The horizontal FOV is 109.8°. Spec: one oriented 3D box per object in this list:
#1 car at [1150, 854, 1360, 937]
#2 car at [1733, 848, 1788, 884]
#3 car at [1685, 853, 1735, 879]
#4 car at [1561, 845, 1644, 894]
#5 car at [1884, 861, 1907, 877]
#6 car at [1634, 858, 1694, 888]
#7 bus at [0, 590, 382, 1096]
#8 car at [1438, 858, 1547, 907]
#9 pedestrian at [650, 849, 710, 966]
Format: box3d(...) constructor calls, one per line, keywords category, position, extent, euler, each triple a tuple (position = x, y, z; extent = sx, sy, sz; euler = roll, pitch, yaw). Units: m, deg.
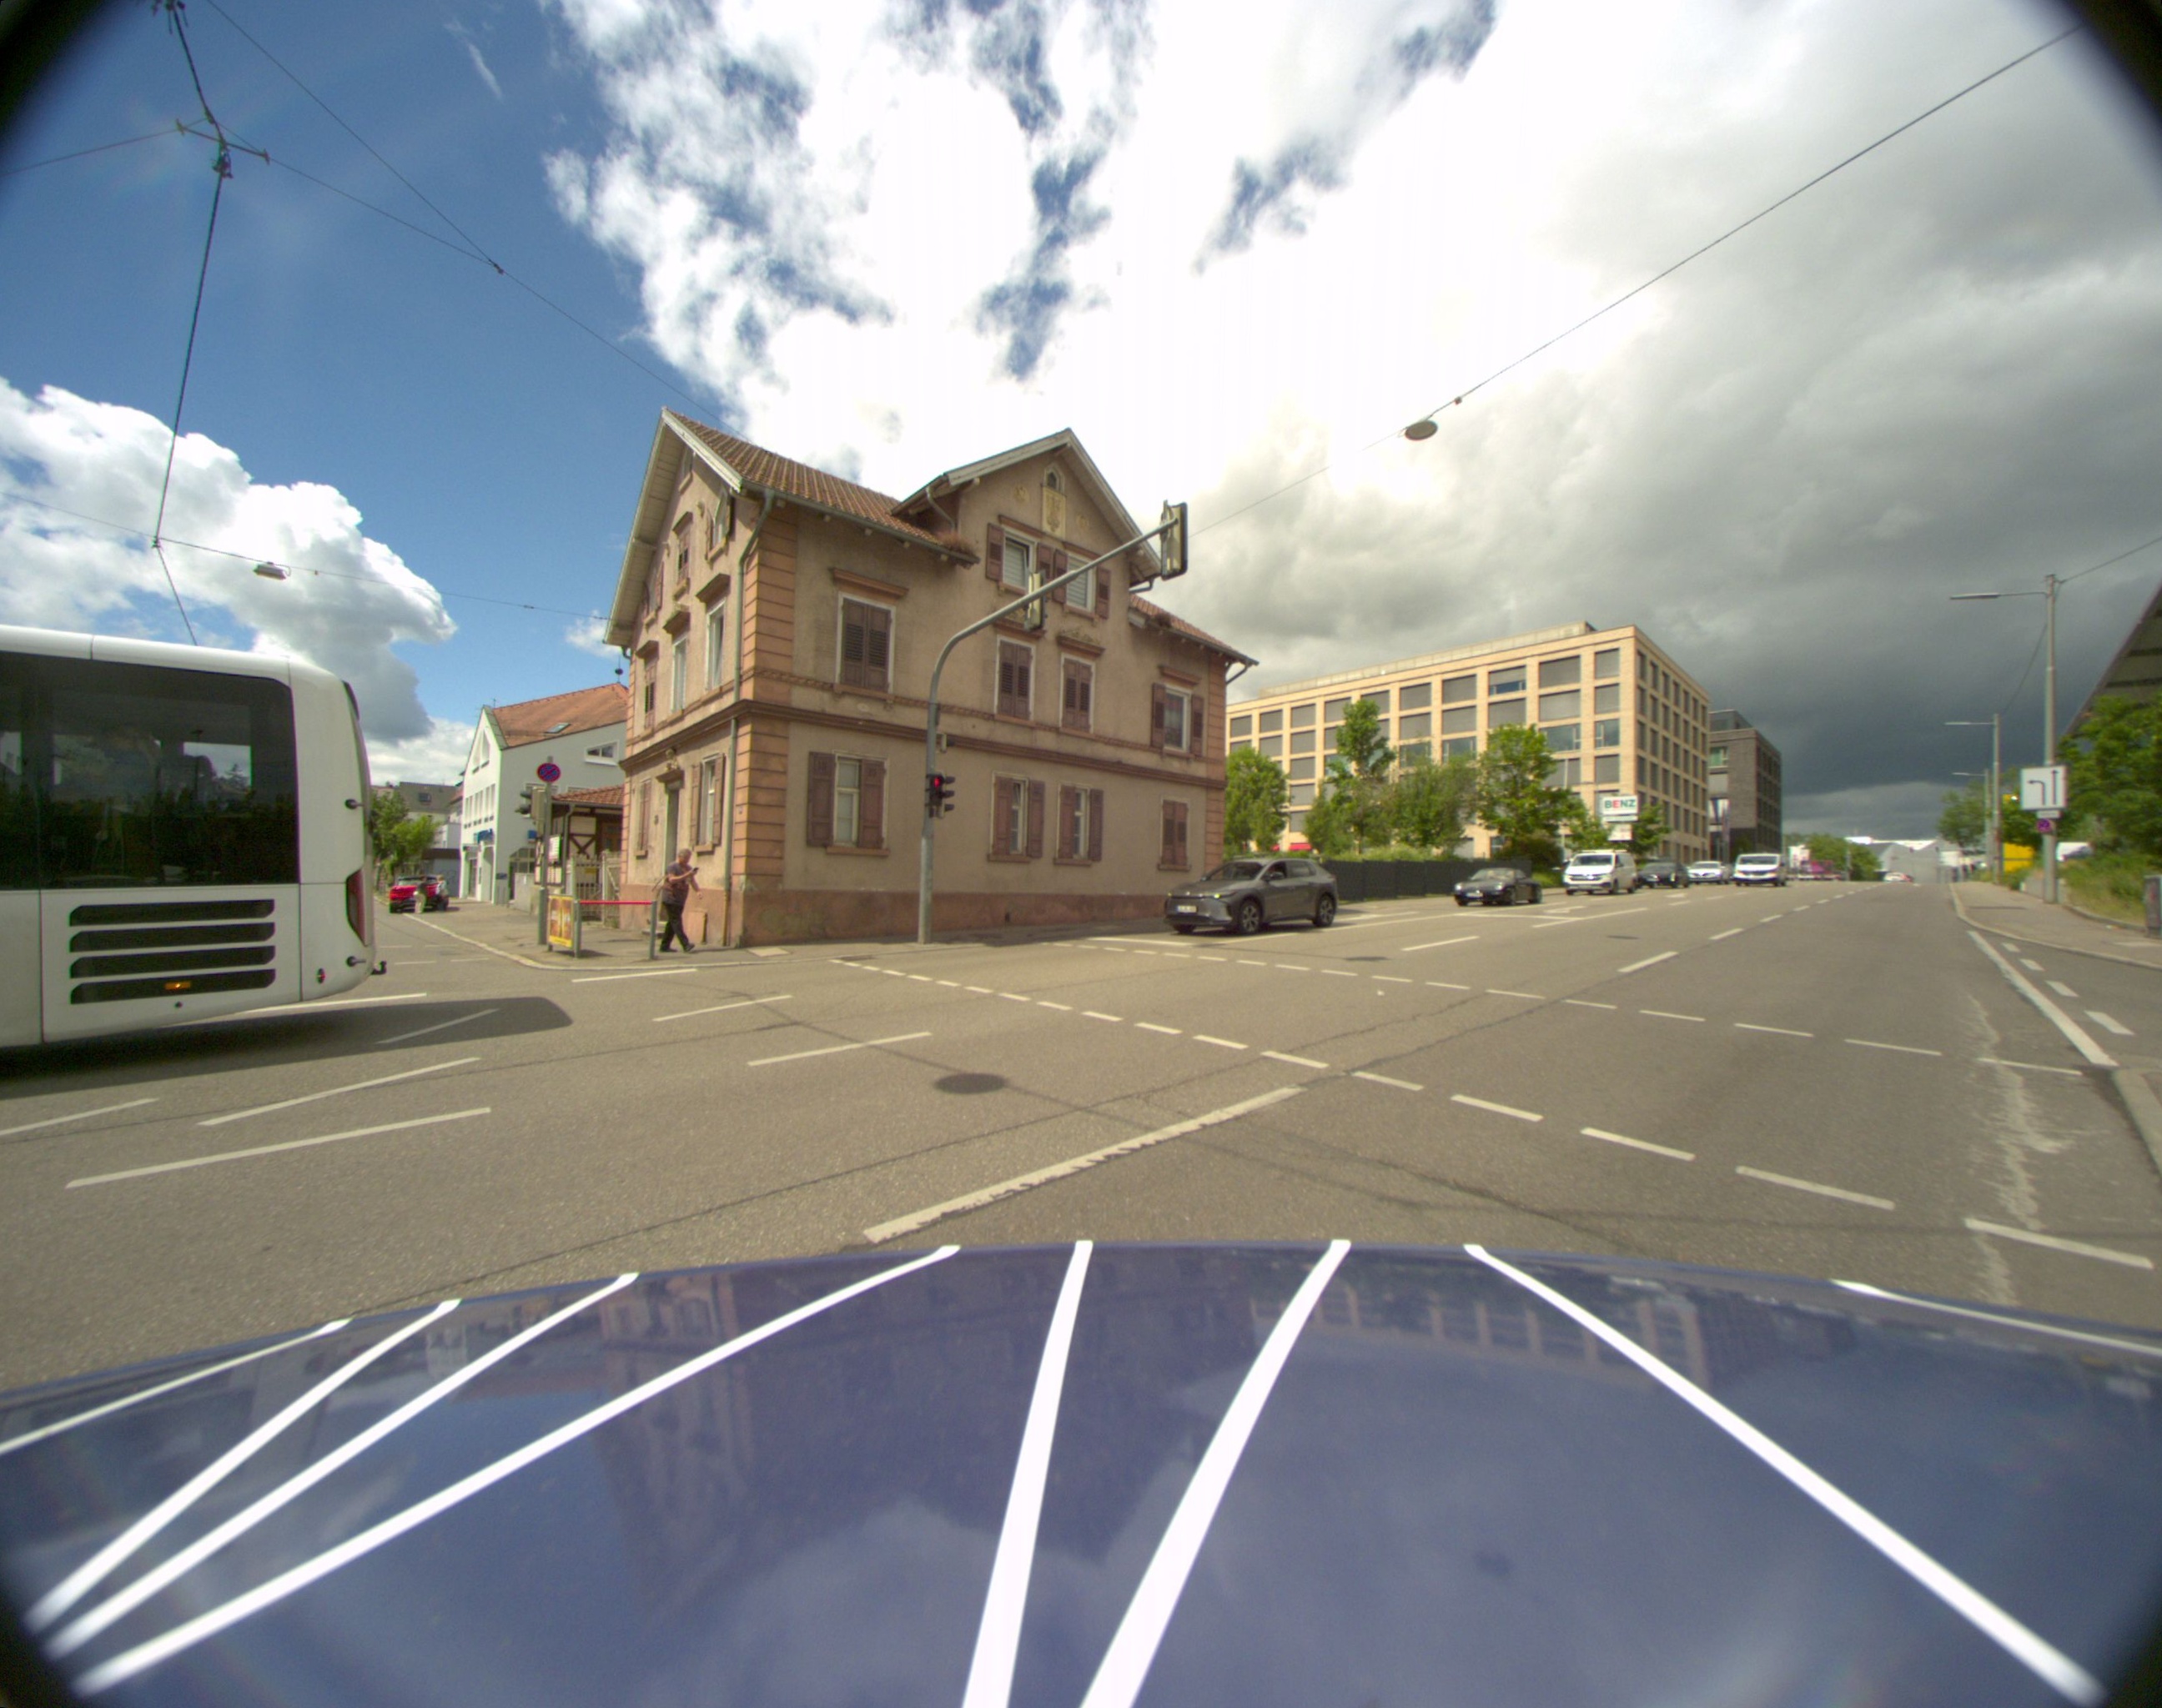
box3d(category="car", position=(4.002, 0.821, 16.863), extent=(5.109, 1.568, 1.995), euler=(0, -2, -43))
box3d(category="car", position=(40.178, 0.676, 44.893), extent=(5.000, 1.981, 1.995), euler=(-1, 0, -43))
box3d(category="car", position=(41.659, 0.791, 50.274), extent=(4.339, 1.525, 1.995), euler=(-2, 0, -43))
box3d(category="car", position=(23.805, 0.657, 34.610), extent=(4.826, 2.000, 1.995), euler=(-2, 0, -42))
box3d(category="car", position=(106.377, 1.961, 99.252), extent=(5.000, 1.863, 1.995), euler=(-1, 0, -43))
box3d(category="car", position=(32.704, 1.045, 42.574), extent=(4.339, 1.457, 1.995), euler=(-2, 0, -43))
box3d(category="bus", position=(-11.499, 0.051, 3.202), extent=(12.450, 3.368, 2.961), euler=(-2, 0, -42))
box3d(category="car", position=(14.178, 0.924, 26.083), extent=(4.339, 1.457, 1.995), euler=(-2, 0, -43))
box3d(category="pedestrian", position=(-6.740, 0.867, 12.758), extent=(0.725, 1.853, 1.045), euler=(-2, 0, -34))
